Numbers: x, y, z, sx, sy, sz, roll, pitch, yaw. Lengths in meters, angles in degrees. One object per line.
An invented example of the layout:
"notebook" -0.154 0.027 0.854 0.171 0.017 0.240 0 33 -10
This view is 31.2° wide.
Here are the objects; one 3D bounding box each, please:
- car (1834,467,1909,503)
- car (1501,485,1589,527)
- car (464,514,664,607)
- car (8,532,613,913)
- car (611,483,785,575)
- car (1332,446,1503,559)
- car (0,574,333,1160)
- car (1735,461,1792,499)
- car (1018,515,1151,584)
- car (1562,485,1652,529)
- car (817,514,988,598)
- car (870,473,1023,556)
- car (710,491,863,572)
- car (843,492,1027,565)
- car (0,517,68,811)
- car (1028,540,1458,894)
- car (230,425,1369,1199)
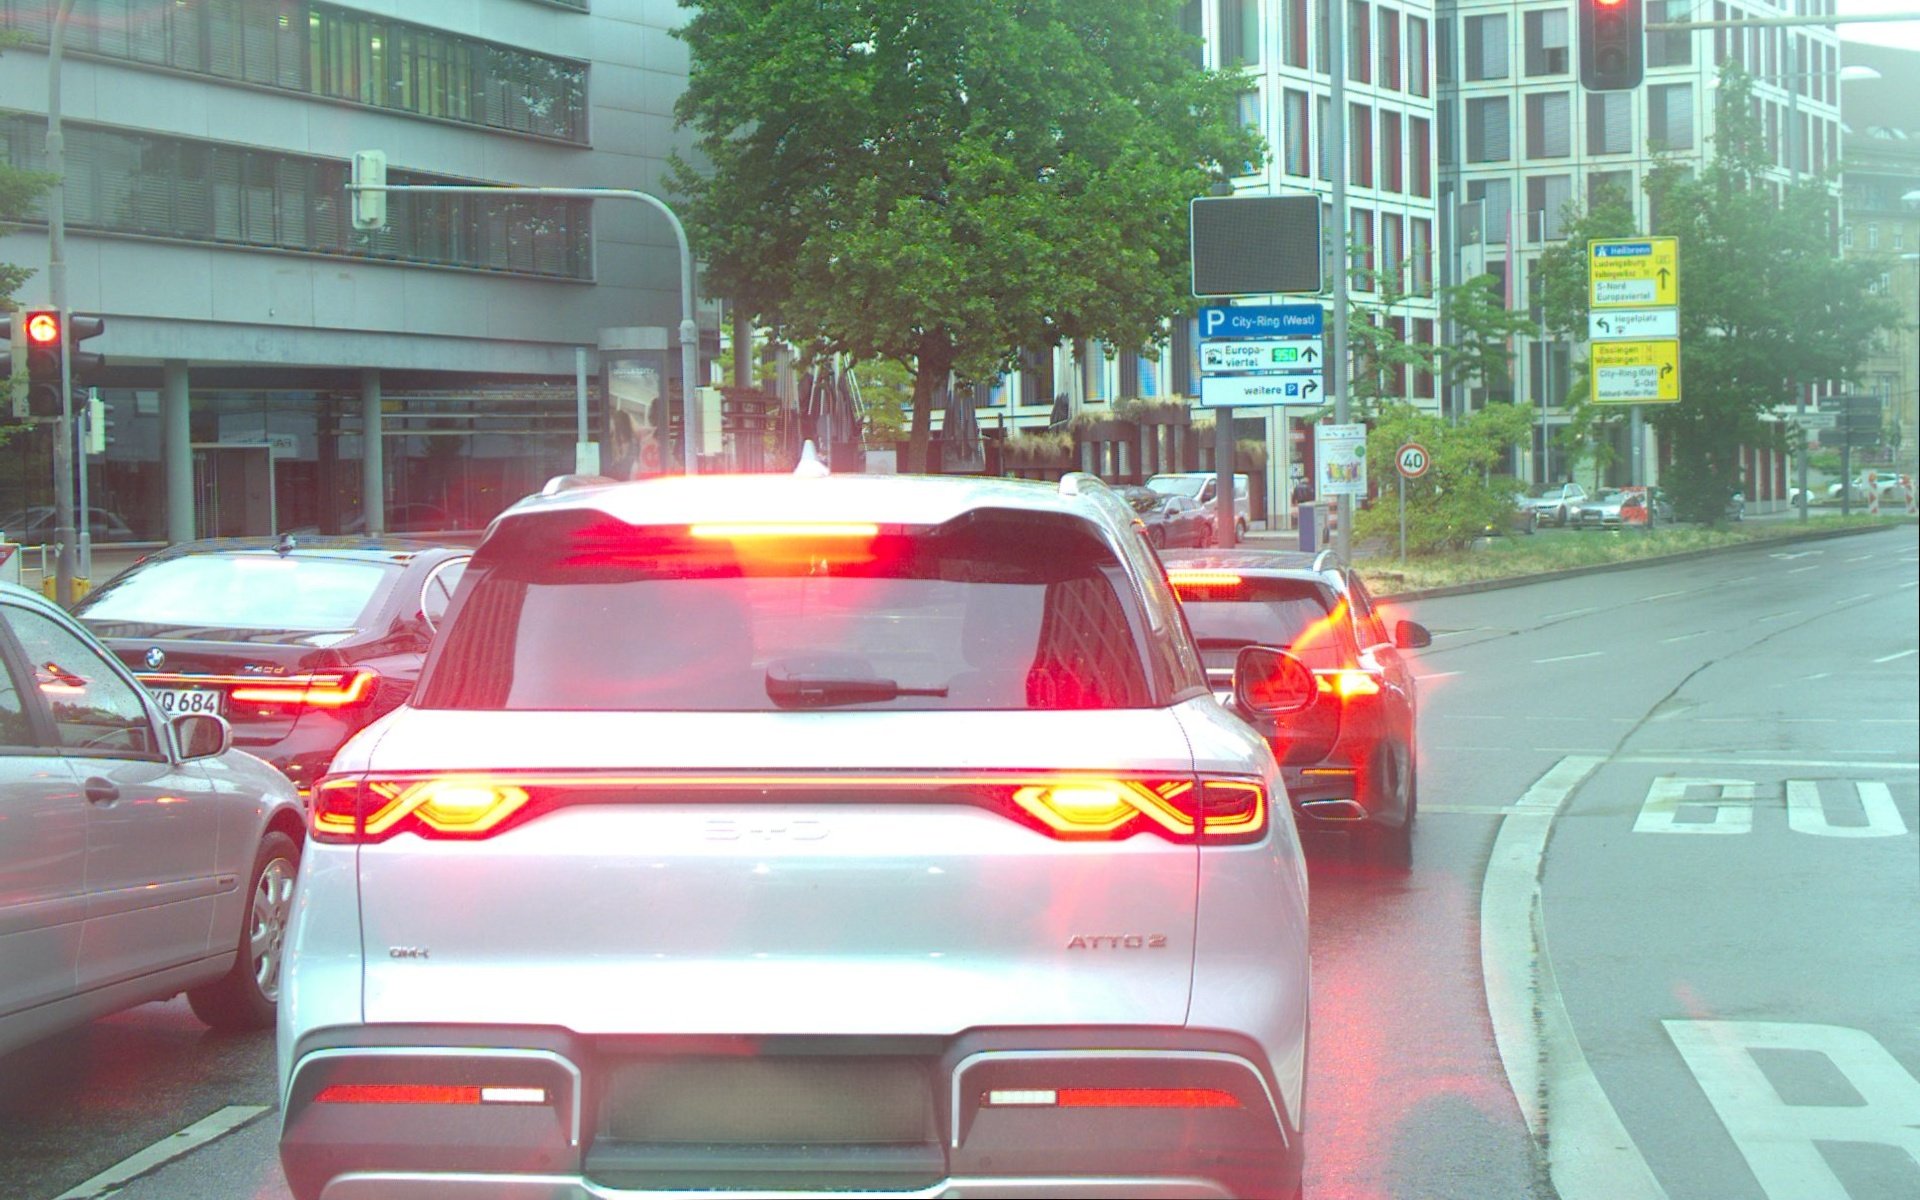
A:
"car" 52.131 -6.565 196.575 3.991 2.007 1.998 1 1 20
"car" 20.949 -3.376 123.019 1.996 1.483 3.994 0 2 27
"car" -7.092 -0.742 61.882 1.995 1.605 3.996 1 1 20
"car" -2.777 0.464 15.591 1.571 1.481 3.999 1 1 6
"car" -4.483 -1.227 59.380 1.645 1.530 4.149 1 1 16
"car" 8.675 -1.812 64.837 1.996 2.007 4.843 1 1 23
"car" -3.026 0.639 8.909 1.571 1.402 4.108 1 1 7
"car" 38.200 -5.688 163.399 1.609 1.735 3.439 1 1 32
"car" 3.011 -1.230 82.465 1.633 1.553 4.588 0 2 23
"car" 22.345 -3.221 118.706 1.996 1.483 3.994 0 2 27
"car" -0.949 -0.746 58.830 1.692 1.380 3.865 1 1 19
"car" -0.232 -1.690 68.072 1.645 1.575 4.081 1 1 21
"car" -3.468 -1.368 69.258 1.640 1.565 3.714 1 1 22
"car" -0.494 -1.589 75.366 1.816 1.505 5.188 0 2 27
"car" -5.866 0.322 16.281 1.707 1.481 3.998 1 1 9
"car" 1.484 0.476 16.644 1.694 1.481 3.998 1 1 10
"car" -0.206 0.552 7.393 1.776 1.673 4.000 1 1 2
